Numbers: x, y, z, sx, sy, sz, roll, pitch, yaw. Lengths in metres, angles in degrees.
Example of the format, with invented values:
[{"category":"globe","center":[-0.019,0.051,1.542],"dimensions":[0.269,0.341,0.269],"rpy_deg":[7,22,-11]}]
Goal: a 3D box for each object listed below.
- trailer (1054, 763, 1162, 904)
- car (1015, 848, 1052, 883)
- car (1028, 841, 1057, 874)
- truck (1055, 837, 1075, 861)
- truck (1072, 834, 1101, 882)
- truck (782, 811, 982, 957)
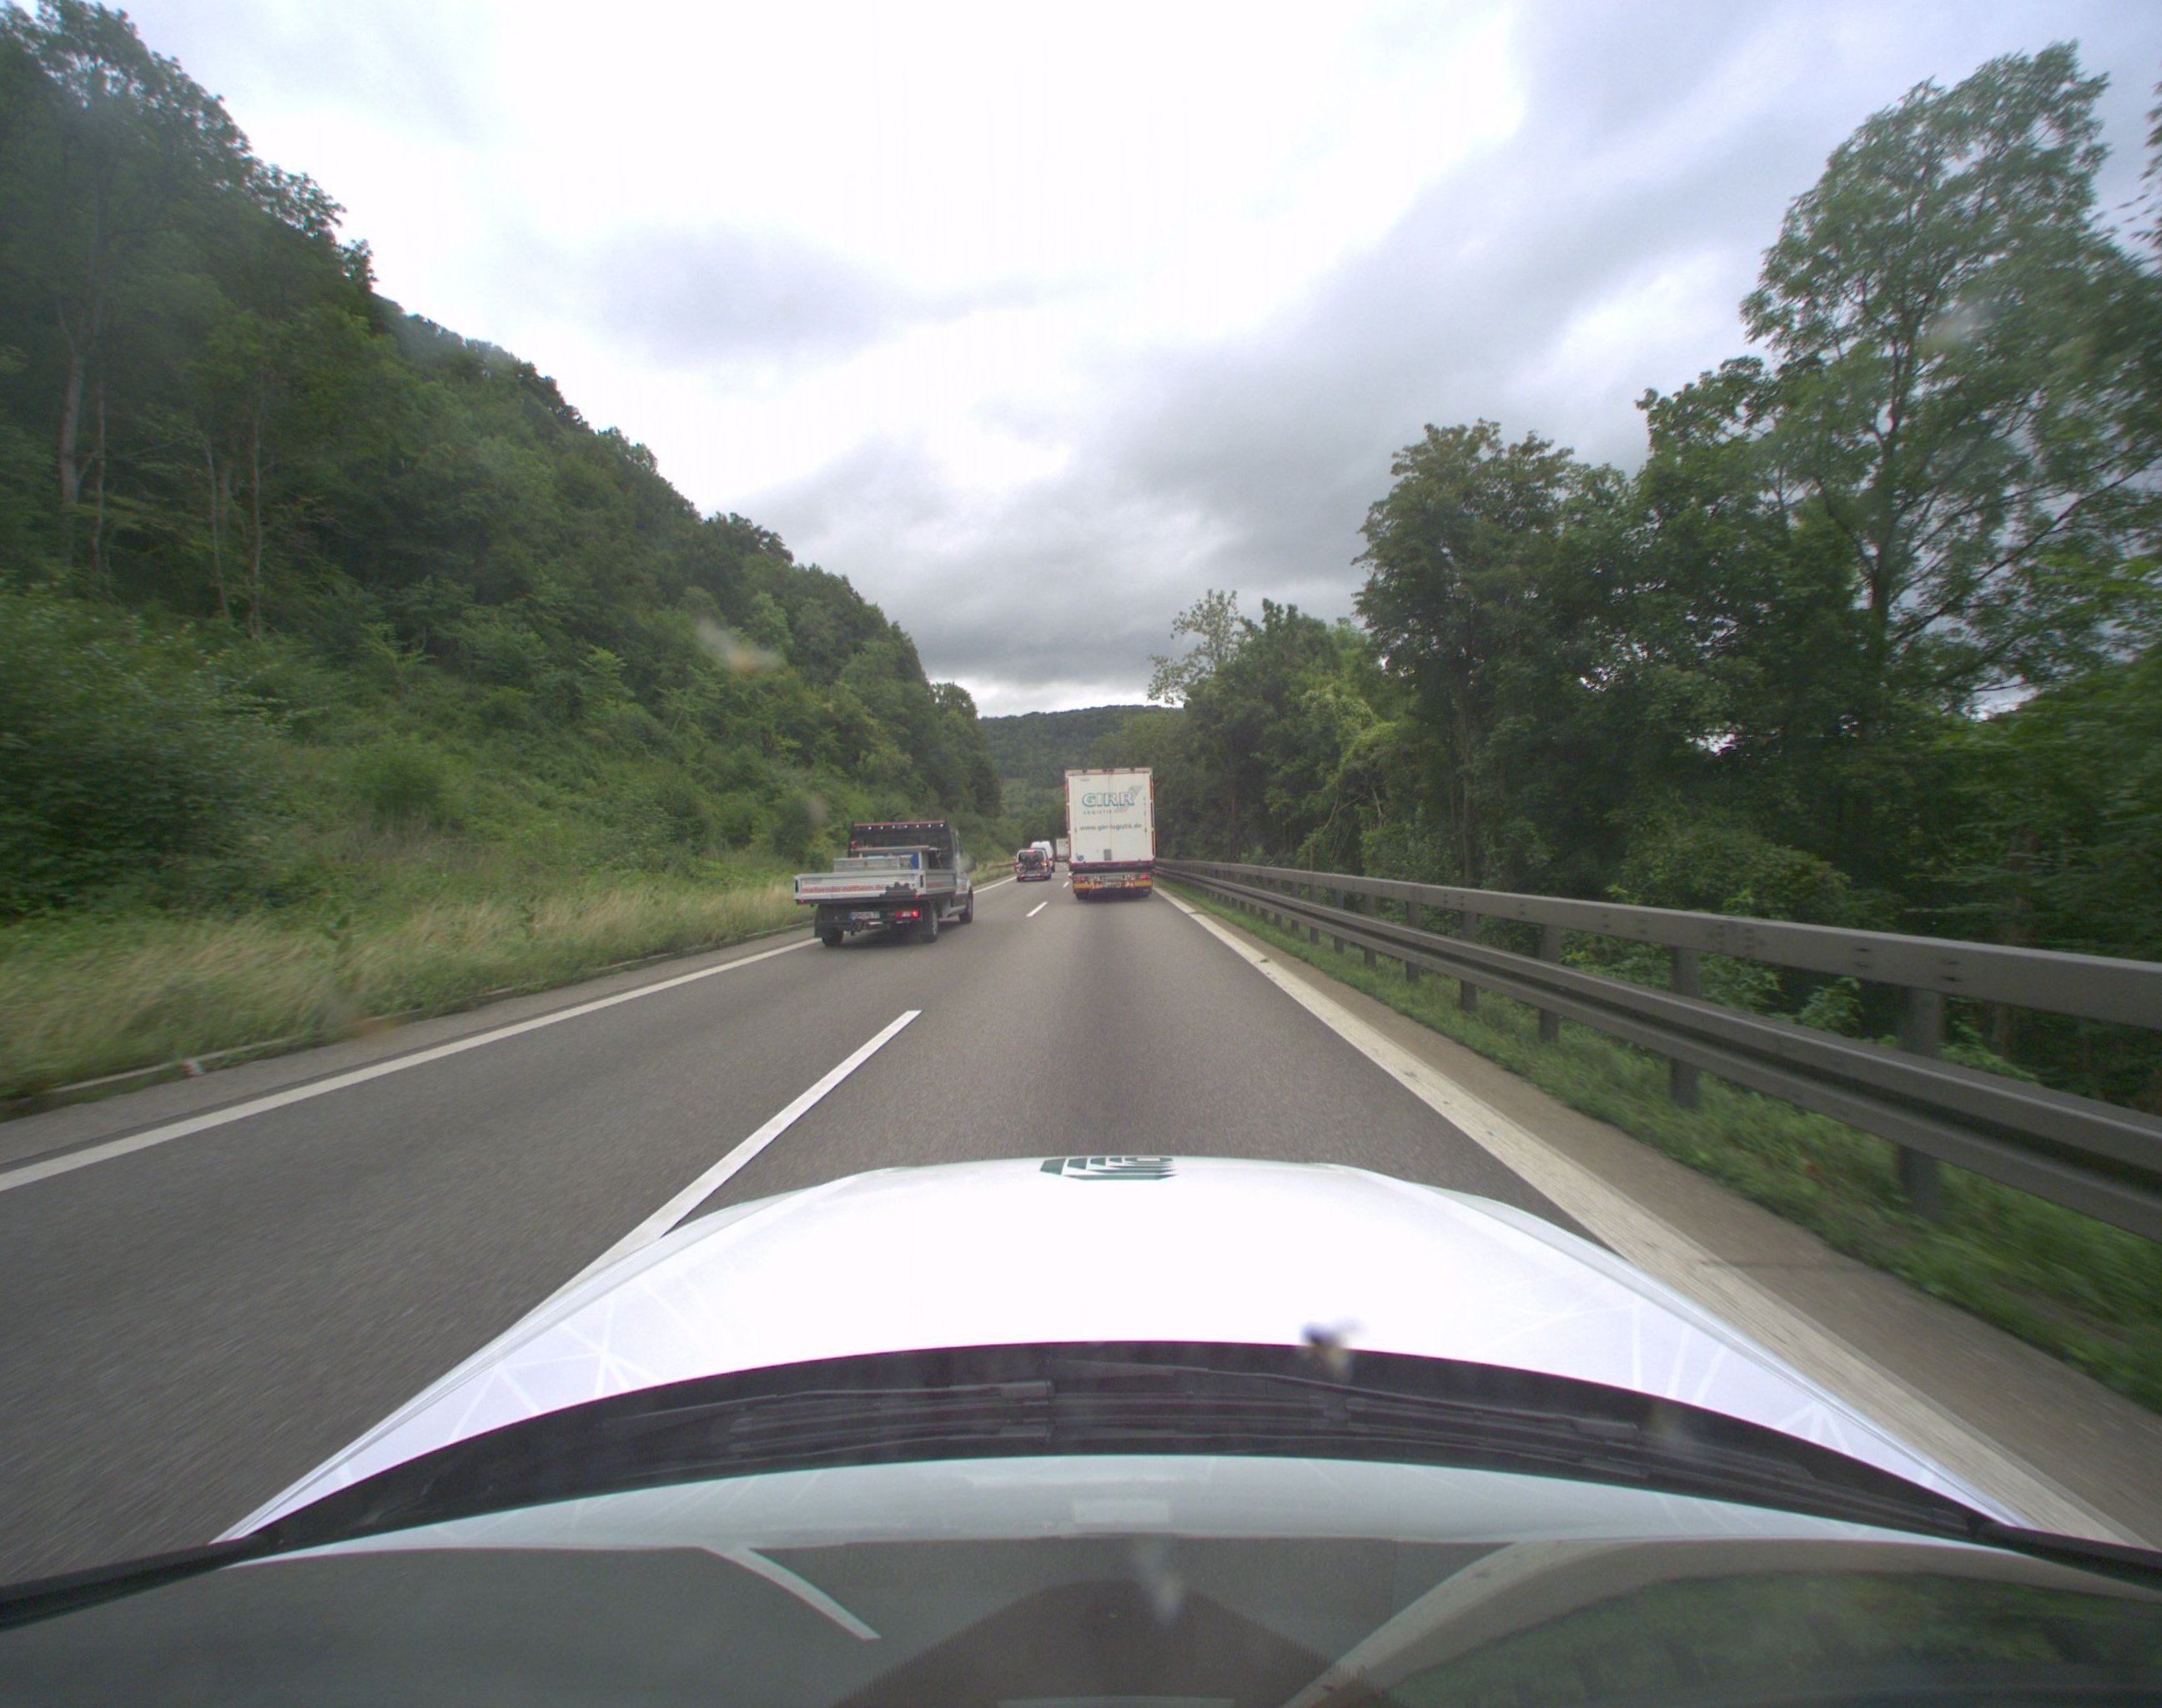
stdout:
[{"category":"trailer","center":[0.965,-0.587,28.251],"dimensions":[3.121,4.043,9.444],"rpy_deg":[0,0,2]},{"category":"car","center":[-2.783,0.646,48.689],"dimensions":[2.013,1.914,5.559],"rpy_deg":[-2,0,-2]},{"category":"car","center":[-3.168,0.312,68.466],"dimensions":[2.118,2.598,5.560],"rpy_deg":[-3,0,-1]},{"category":"truck","center":[-2.799,-0.786,138.906],"dimensions":[3.062,3.877,8.447],"rpy_deg":[-2,-1,-3]},{"category":"truck","center":[0.478,0.343,69.336],"dimensions":[2.226,3.804,6.822],"rpy_deg":[-2,-1,0]},{"category":"truck","center":[-3.602,0.488,16.480],"dimensions":[2.342,2.274,6.847],"rpy_deg":[-2,0,-1]}]
